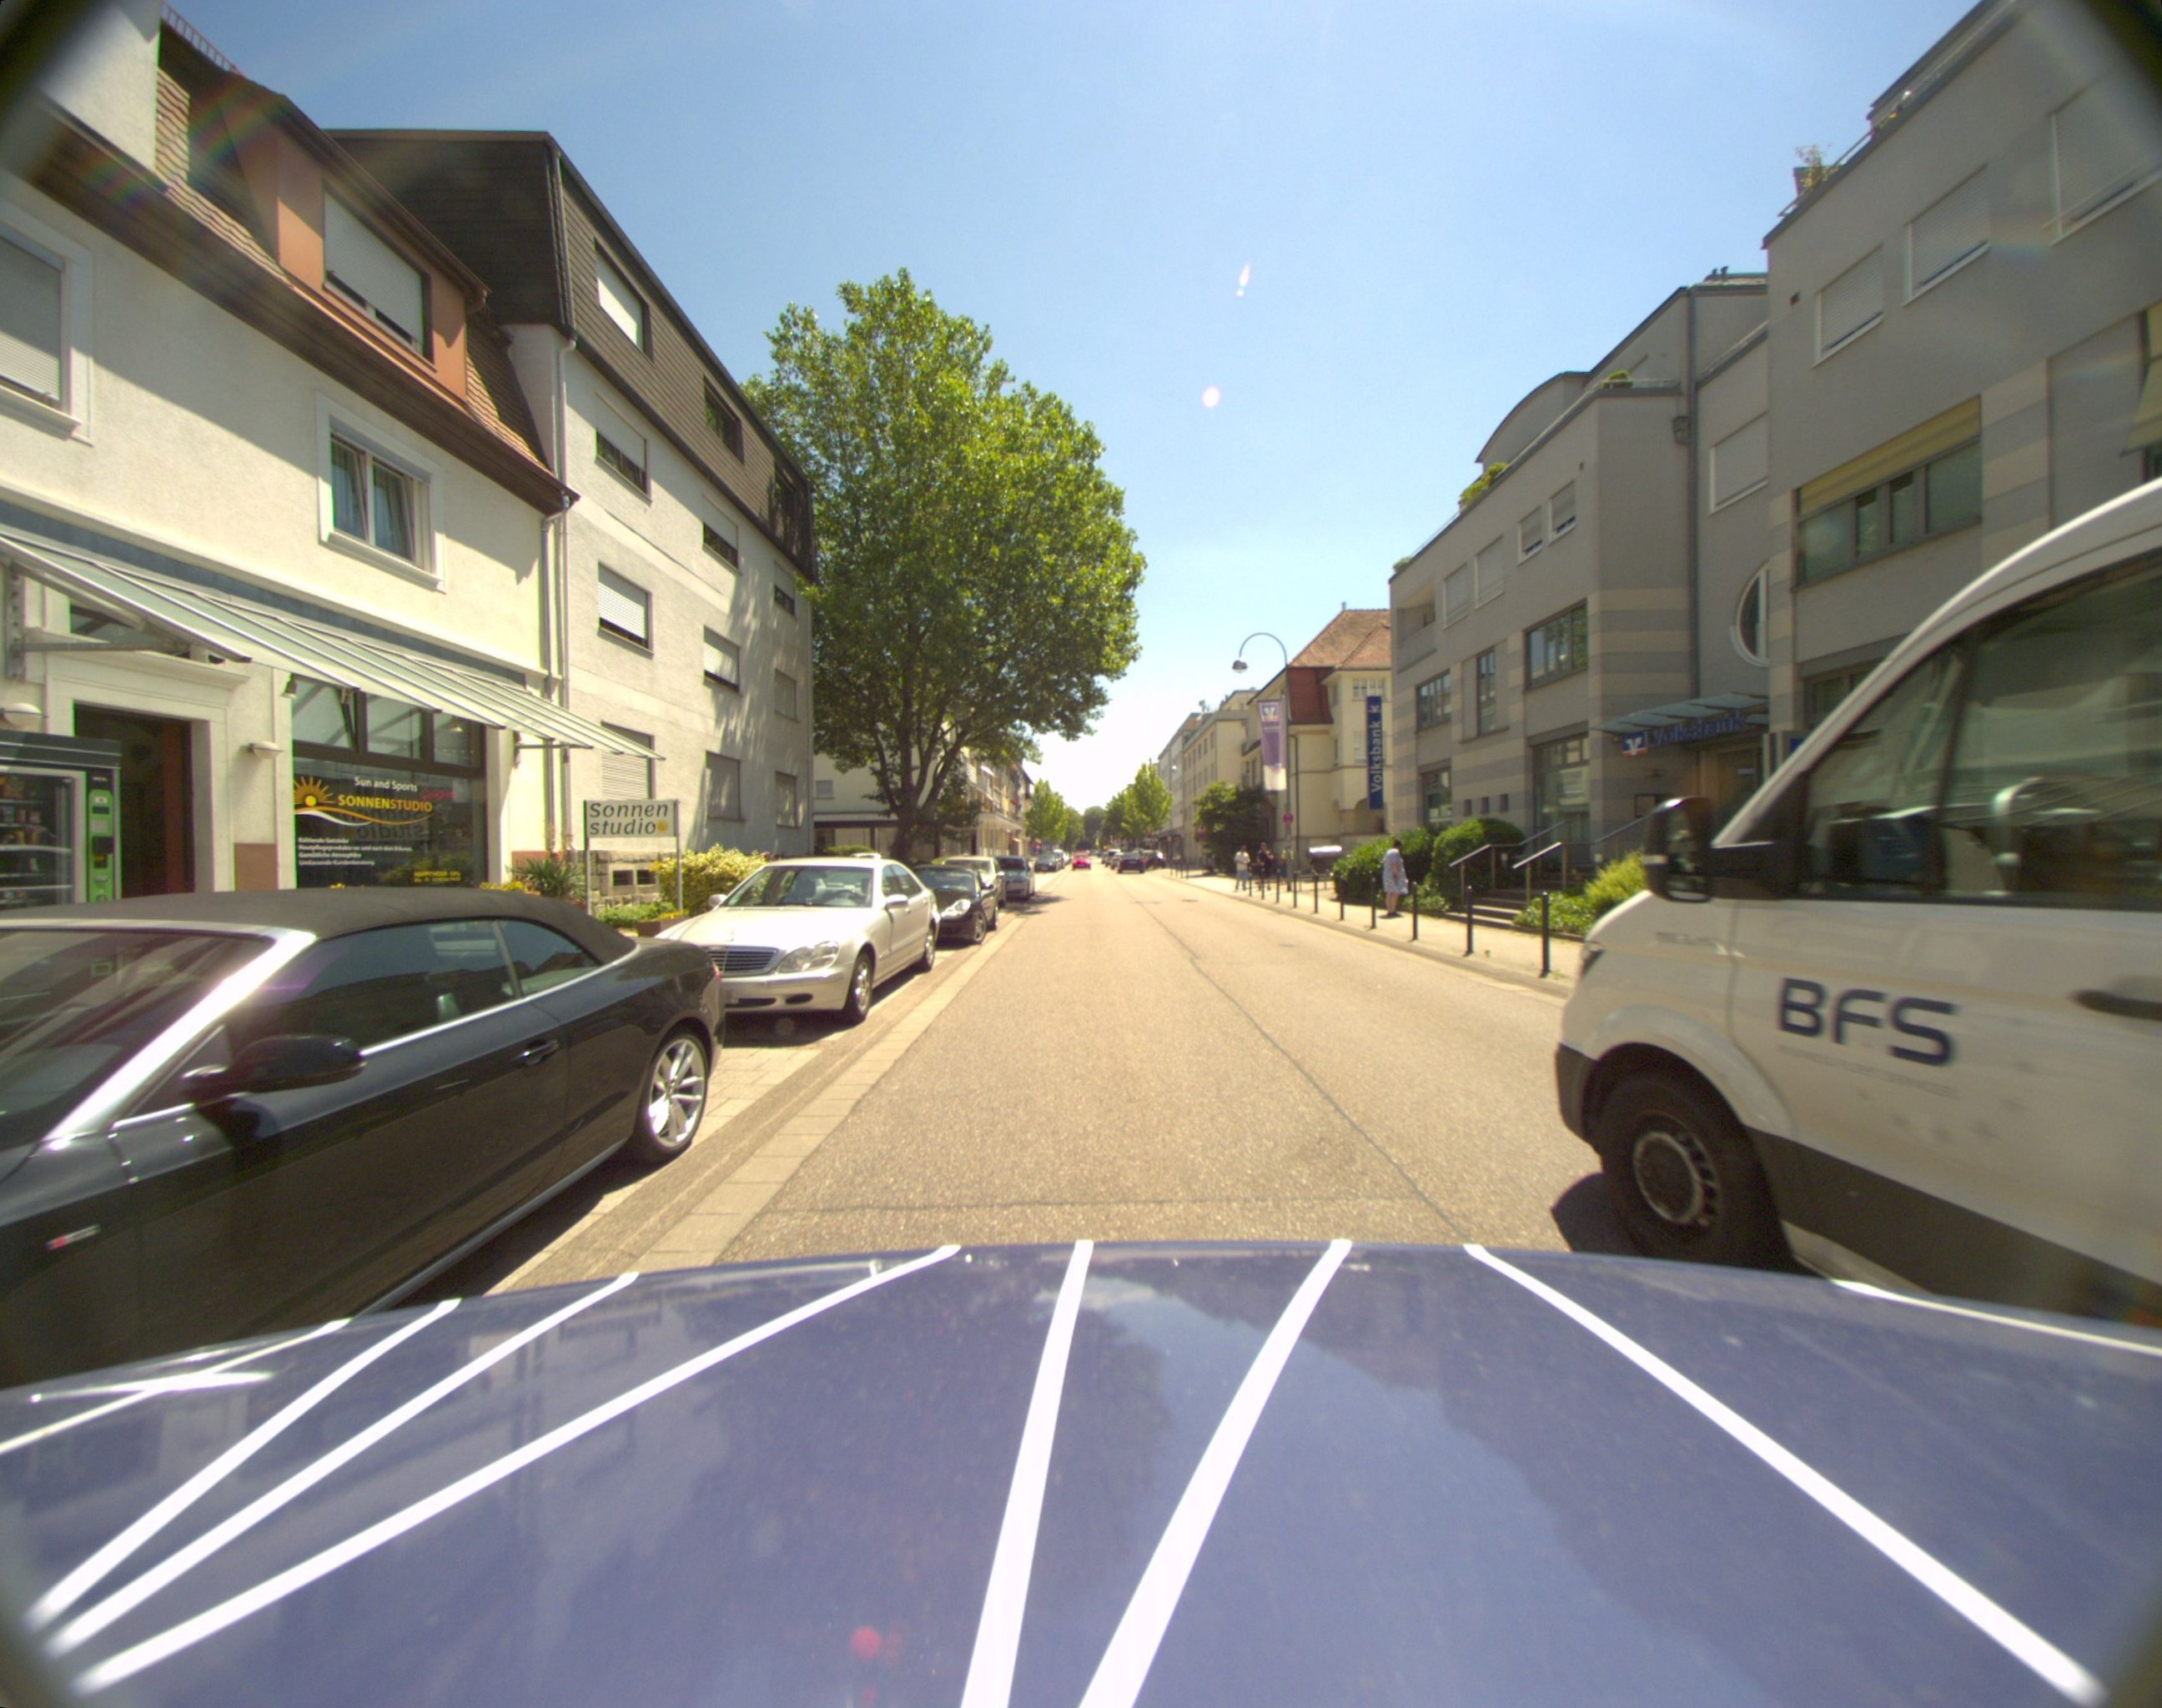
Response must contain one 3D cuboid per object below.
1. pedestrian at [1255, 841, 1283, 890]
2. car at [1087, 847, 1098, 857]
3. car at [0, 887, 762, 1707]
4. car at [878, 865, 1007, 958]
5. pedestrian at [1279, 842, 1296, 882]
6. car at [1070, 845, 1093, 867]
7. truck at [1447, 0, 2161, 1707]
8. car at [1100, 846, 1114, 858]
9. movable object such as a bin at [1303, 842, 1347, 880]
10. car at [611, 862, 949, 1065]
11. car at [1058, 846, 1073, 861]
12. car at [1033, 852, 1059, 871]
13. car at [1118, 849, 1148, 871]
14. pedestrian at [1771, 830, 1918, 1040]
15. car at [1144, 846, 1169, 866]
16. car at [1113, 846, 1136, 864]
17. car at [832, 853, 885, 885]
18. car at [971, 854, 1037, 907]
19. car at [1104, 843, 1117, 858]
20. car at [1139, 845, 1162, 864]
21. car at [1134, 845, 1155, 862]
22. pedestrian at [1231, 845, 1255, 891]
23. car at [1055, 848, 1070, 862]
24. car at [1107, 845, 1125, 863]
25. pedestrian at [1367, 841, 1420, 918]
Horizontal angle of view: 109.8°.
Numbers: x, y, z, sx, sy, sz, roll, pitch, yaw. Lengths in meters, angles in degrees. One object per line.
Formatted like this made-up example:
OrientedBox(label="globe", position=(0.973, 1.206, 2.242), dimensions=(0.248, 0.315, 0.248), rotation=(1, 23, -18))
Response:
OrientedBox(label="pedestrian", position=(6.965, 0.415, 28.193), dimensions=(0.750, 1.760, 0.951), rotation=(-2, 1, 0))
OrientedBox(label="car", position=(1.924, -0.359, 126.639), dimensions=(1.698, 1.594, 3.812), rotation=(-1, 0, 0))
OrientedBox(label="car", position=(-2.911, 0.949, 2.344), dimensions=(1.831, 1.418, 4.700), rotation=(1, 1, 1))
OrientedBox(label="car", position=(-2.339, 0.920, 13.816), dimensions=(1.562, 1.333, 4.173), rotation=(0, 1, 0))
OrientedBox(label="pedestrian", position=(8.677, 0.328, 31.946), dimensions=(0.541, 1.665, 0.735), rotation=(-1, 1, 0))
OrientedBox(label="car", position=(0.058, 0.144, 69.106), dimensions=(2.000, 1.880, 4.293), rotation=(-3, 1, 0))
OrientedBox(label="truck", position=(2.809, 0.093, 0.247), dimensions=(2.426, 2.966, 6.257), rotation=(-1, 0, 1))
OrientedBox(label="car", position=(3.303, -0.269, 97.462), dimensions=(1.731, 1.500, 4.292), rotation=(0, 2, 0))
OrientedBox(label="movable object such as a bin", position=(10.408, 0.294, 32.418), dimensions=(1.390, 1.479, 1.294), rotation=(-4, 1, 0))
OrientedBox(label="car", position=(-2.781, 0.882, 8.376), dimensions=(1.748, 1.460, 4.851), rotation=(1, 1, 1))
OrientedBox(label="car", position=(-1.979, -0.095, 96.321), dimensions=(1.731, 1.861, 4.114), rotation=(-1, 1, 0))
OrientedBox(label="car", position=(-2.797, 0.572, 61.110), dimensions=(1.818, 1.379, 4.114), rotation=(2, 1, 0))
OrientedBox(label="car", position=(3.649, 0.394, 53.911), dimensions=(1.834, 1.502, 4.262), rotation=(-1, 0, 0))
OrientedBox(label="pedestrian", position=(6.455, 0.650, 6.456), dimensions=(0.538, 1.675, 0.708), rotation=(-1, 1, 0))
OrientedBox(label="car", position=(6.712, 0.128, 68.040), dimensions=(1.731, 1.661, 4.293), rotation=(-2, 1, 0))
OrientedBox(label="car", position=(3.830, 0.094, 67.587), dimensions=(1.834, 1.502, 4.031), rotation=(0, 1, 0))
OrientedBox(label="car", position=(-11.130, 0.725, 37.920), dimensions=(1.740, 1.491, 3.454), rotation=(-1, 1, -30))
OrientedBox(label="car", position=(-2.524, 0.828, 25.953), dimensions=(1.834, 1.502, 4.758), rotation=(-3, 1, -2))
OrientedBox(label="car", position=(4.271, -0.462, 110.310), dimensions=(1.731, 2.154, 4.293), rotation=(0, 1, 0))
OrientedBox(label="car", position=(6.750, 0.028, 74.522), dimensions=(1.732, 1.661, 4.293), rotation=(-2, 1, -1))
OrientedBox(label="car", position=(6.633, -0.070, 79.517), dimensions=(1.731, 1.661, 4.293), rotation=(-2, 1, 0))
OrientedBox(label="pedestrian", position=(6.057, 0.498, 28.450), dimensions=(0.622, 1.667, 0.903), rotation=(-3, 1, 0))
OrientedBox(label="car", position=(-2.162, 0.103, 90.592), dimensions=(1.731, 1.680, 4.114), rotation=(-1, 1, 0))
OrientedBox(label="car", position=(3.669, -0.034, 80.711), dimensions=(1.706, 1.815, 4.231), rotation=(0, 1, 0))
OrientedBox(label="pedestrian", position=(6.783, 0.543, 16.541), dimensions=(0.847, 1.635, 0.751), rotation=(-1, 1, 2))
